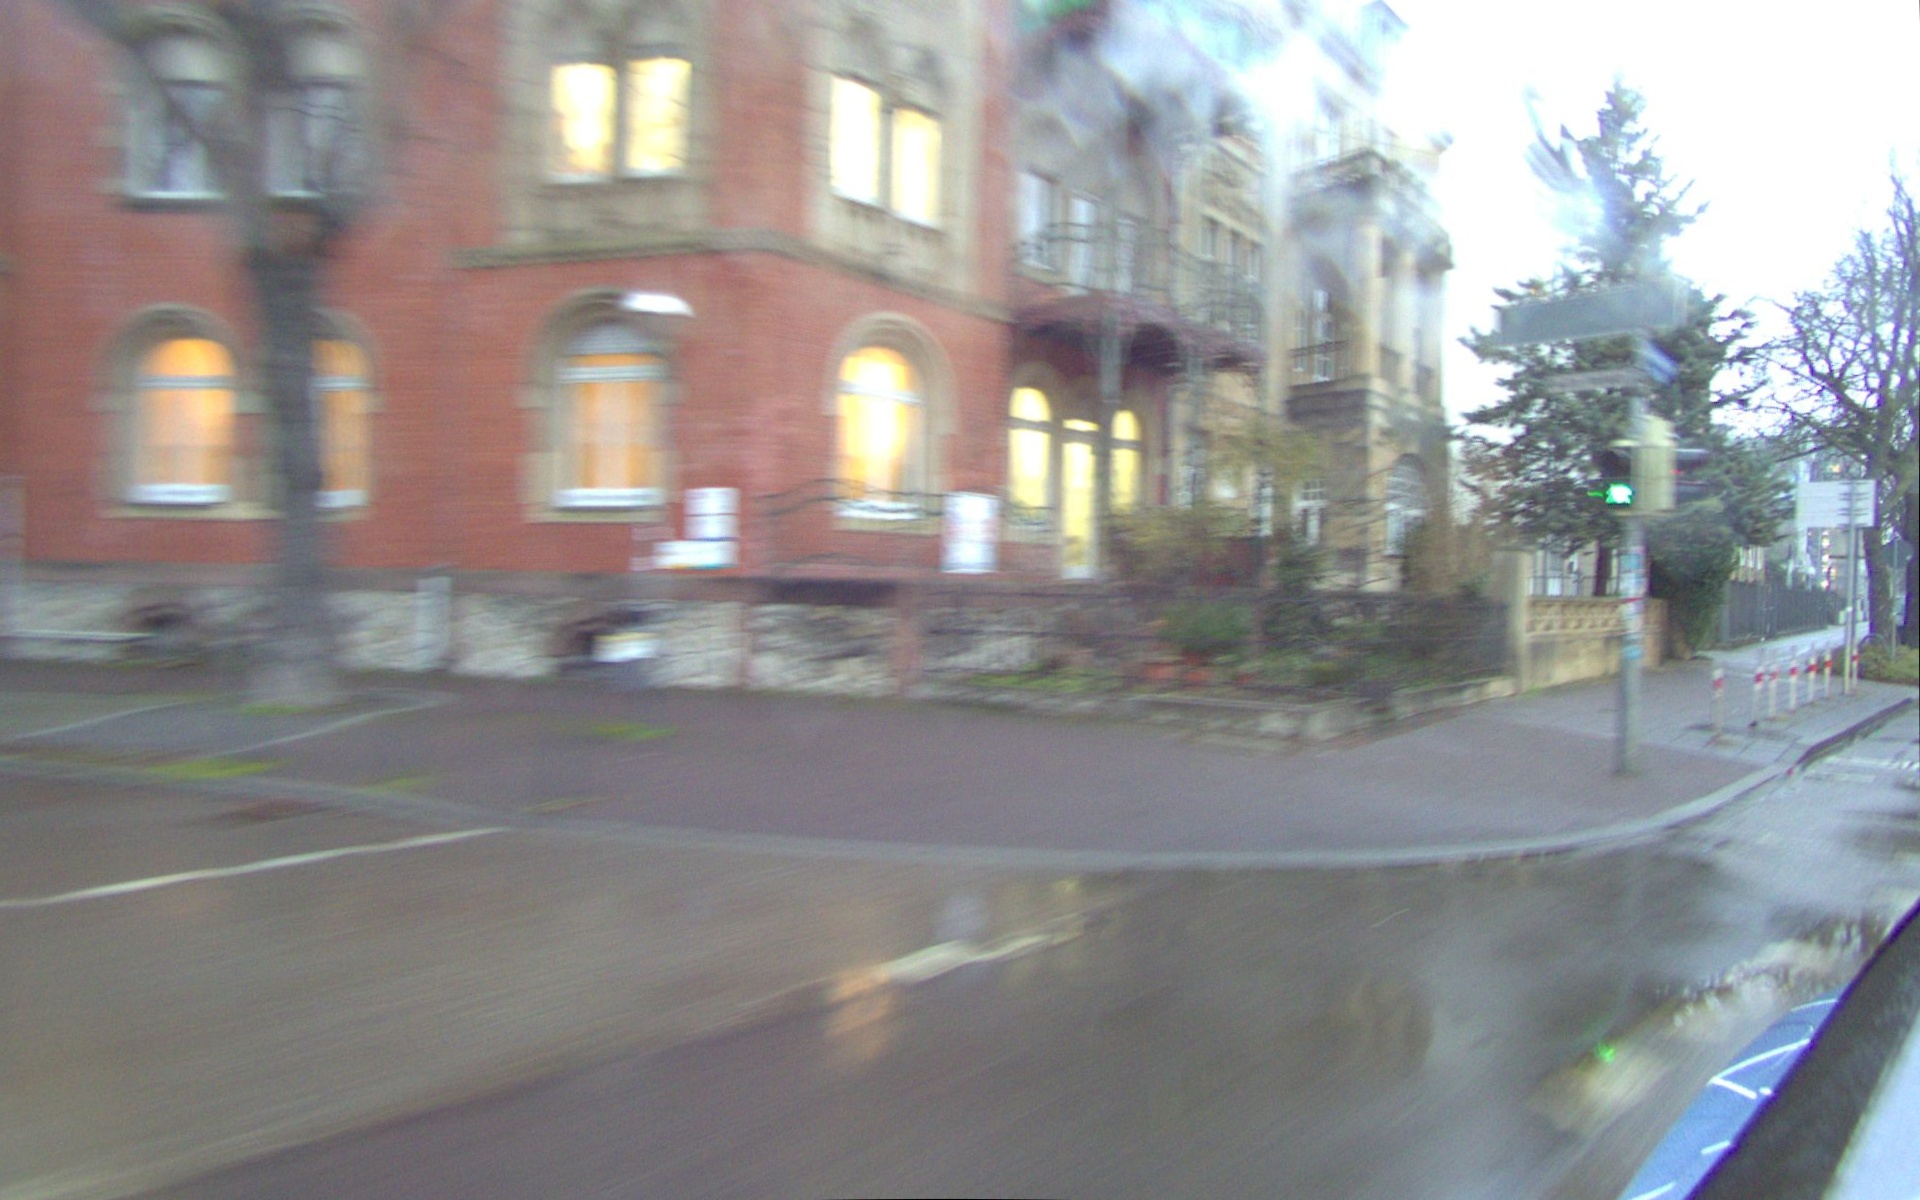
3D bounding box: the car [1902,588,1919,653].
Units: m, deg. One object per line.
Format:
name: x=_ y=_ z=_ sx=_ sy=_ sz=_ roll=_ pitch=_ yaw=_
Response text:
car: x=31.029 y=0.621 z=32.029 sx=1.721 sy=1.970 sz=4.438 roll=-2 pitch=-2 yaw=43
